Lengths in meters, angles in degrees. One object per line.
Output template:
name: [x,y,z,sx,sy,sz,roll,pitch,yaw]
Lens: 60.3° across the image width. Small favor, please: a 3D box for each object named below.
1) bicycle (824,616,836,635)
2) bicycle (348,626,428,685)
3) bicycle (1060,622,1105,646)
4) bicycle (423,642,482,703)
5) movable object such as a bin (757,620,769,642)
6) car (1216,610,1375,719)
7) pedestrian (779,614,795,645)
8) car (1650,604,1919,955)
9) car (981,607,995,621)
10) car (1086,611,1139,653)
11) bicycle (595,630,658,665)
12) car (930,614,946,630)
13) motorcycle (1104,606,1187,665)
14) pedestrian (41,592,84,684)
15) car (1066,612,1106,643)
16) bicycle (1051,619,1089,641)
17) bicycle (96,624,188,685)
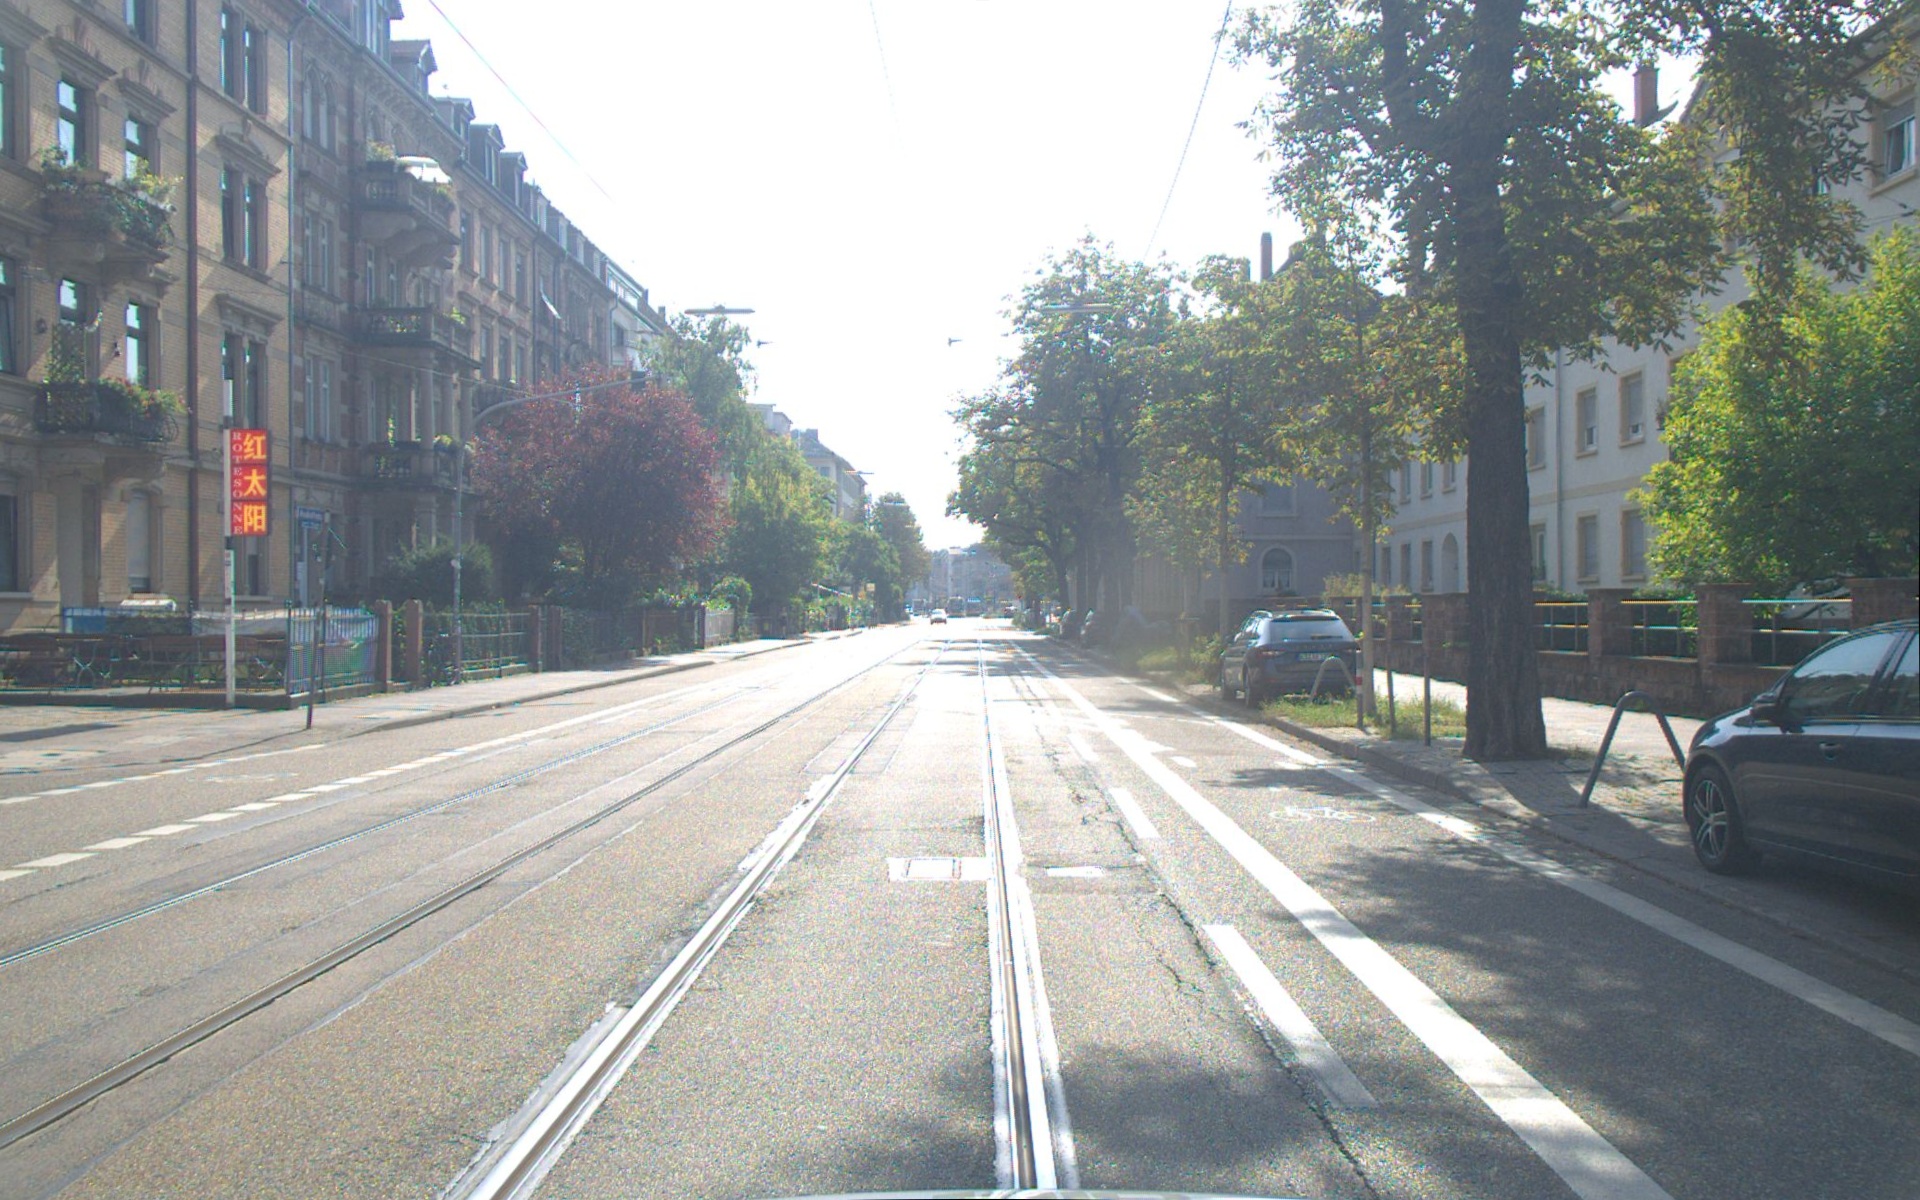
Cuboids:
bicycle: [-8.901,1.734,113.487,0.549,1.242,2.114,0,-1,3]
bicycle: [-10.785,1.043,31.216,1.330,1.078,0.417,1,-1,-2]
bicycle: [5.823,1.623,78.553,2.066,1.125,0.562,0,-1,-7]
bicycle: [-9.932,1.401,32.414,0.498,1.127,2.003,0,-1,1]
movable object such as a bin: [-10.338,1.625,86.757,0.578,1.097,0.704,0,-1,-6]
car: [5.349,0.987,26.936,1.707,1.588,4.719,-1,-1,1]
pedestrian: [-9.013,1.532,86.098,0.737,1.619,0.878,0,-1,1]
car: [5.107,0.800,8.158,1.655,1.528,4.095,-2,-1,0]
car: [4.445,2.171,258.510,1.952,2.049,4.002,2,0,4]
car: [5.983,1.249,65.230,1.691,1.531,3.984,-2,-1,1]
bicycle: [-10.962,1.551,54.419,1.975,1.123,0.588,0,-1,-2]
car: [-2.395,2.361,179.290,1.691,1.666,3.984,0,-1,1]
motorcycle: [5.525,1.061,49.404,0.907,1.703,2.380,-2,0,-44]
pedestrian: [-16.767,0.697,30.894,0.540,1.696,0.579,0,-1,-10]
car: [6.245,1.378,82.254,1.735,1.499,3.974,-1,-1,1]
bicycle: [6.143,1.671,92.725,2.064,1.125,0.616,-2,-1,-1]
bicycle: [-14.835,0.992,30.010,1.453,1.078,0.417,-1,-1,-2]
